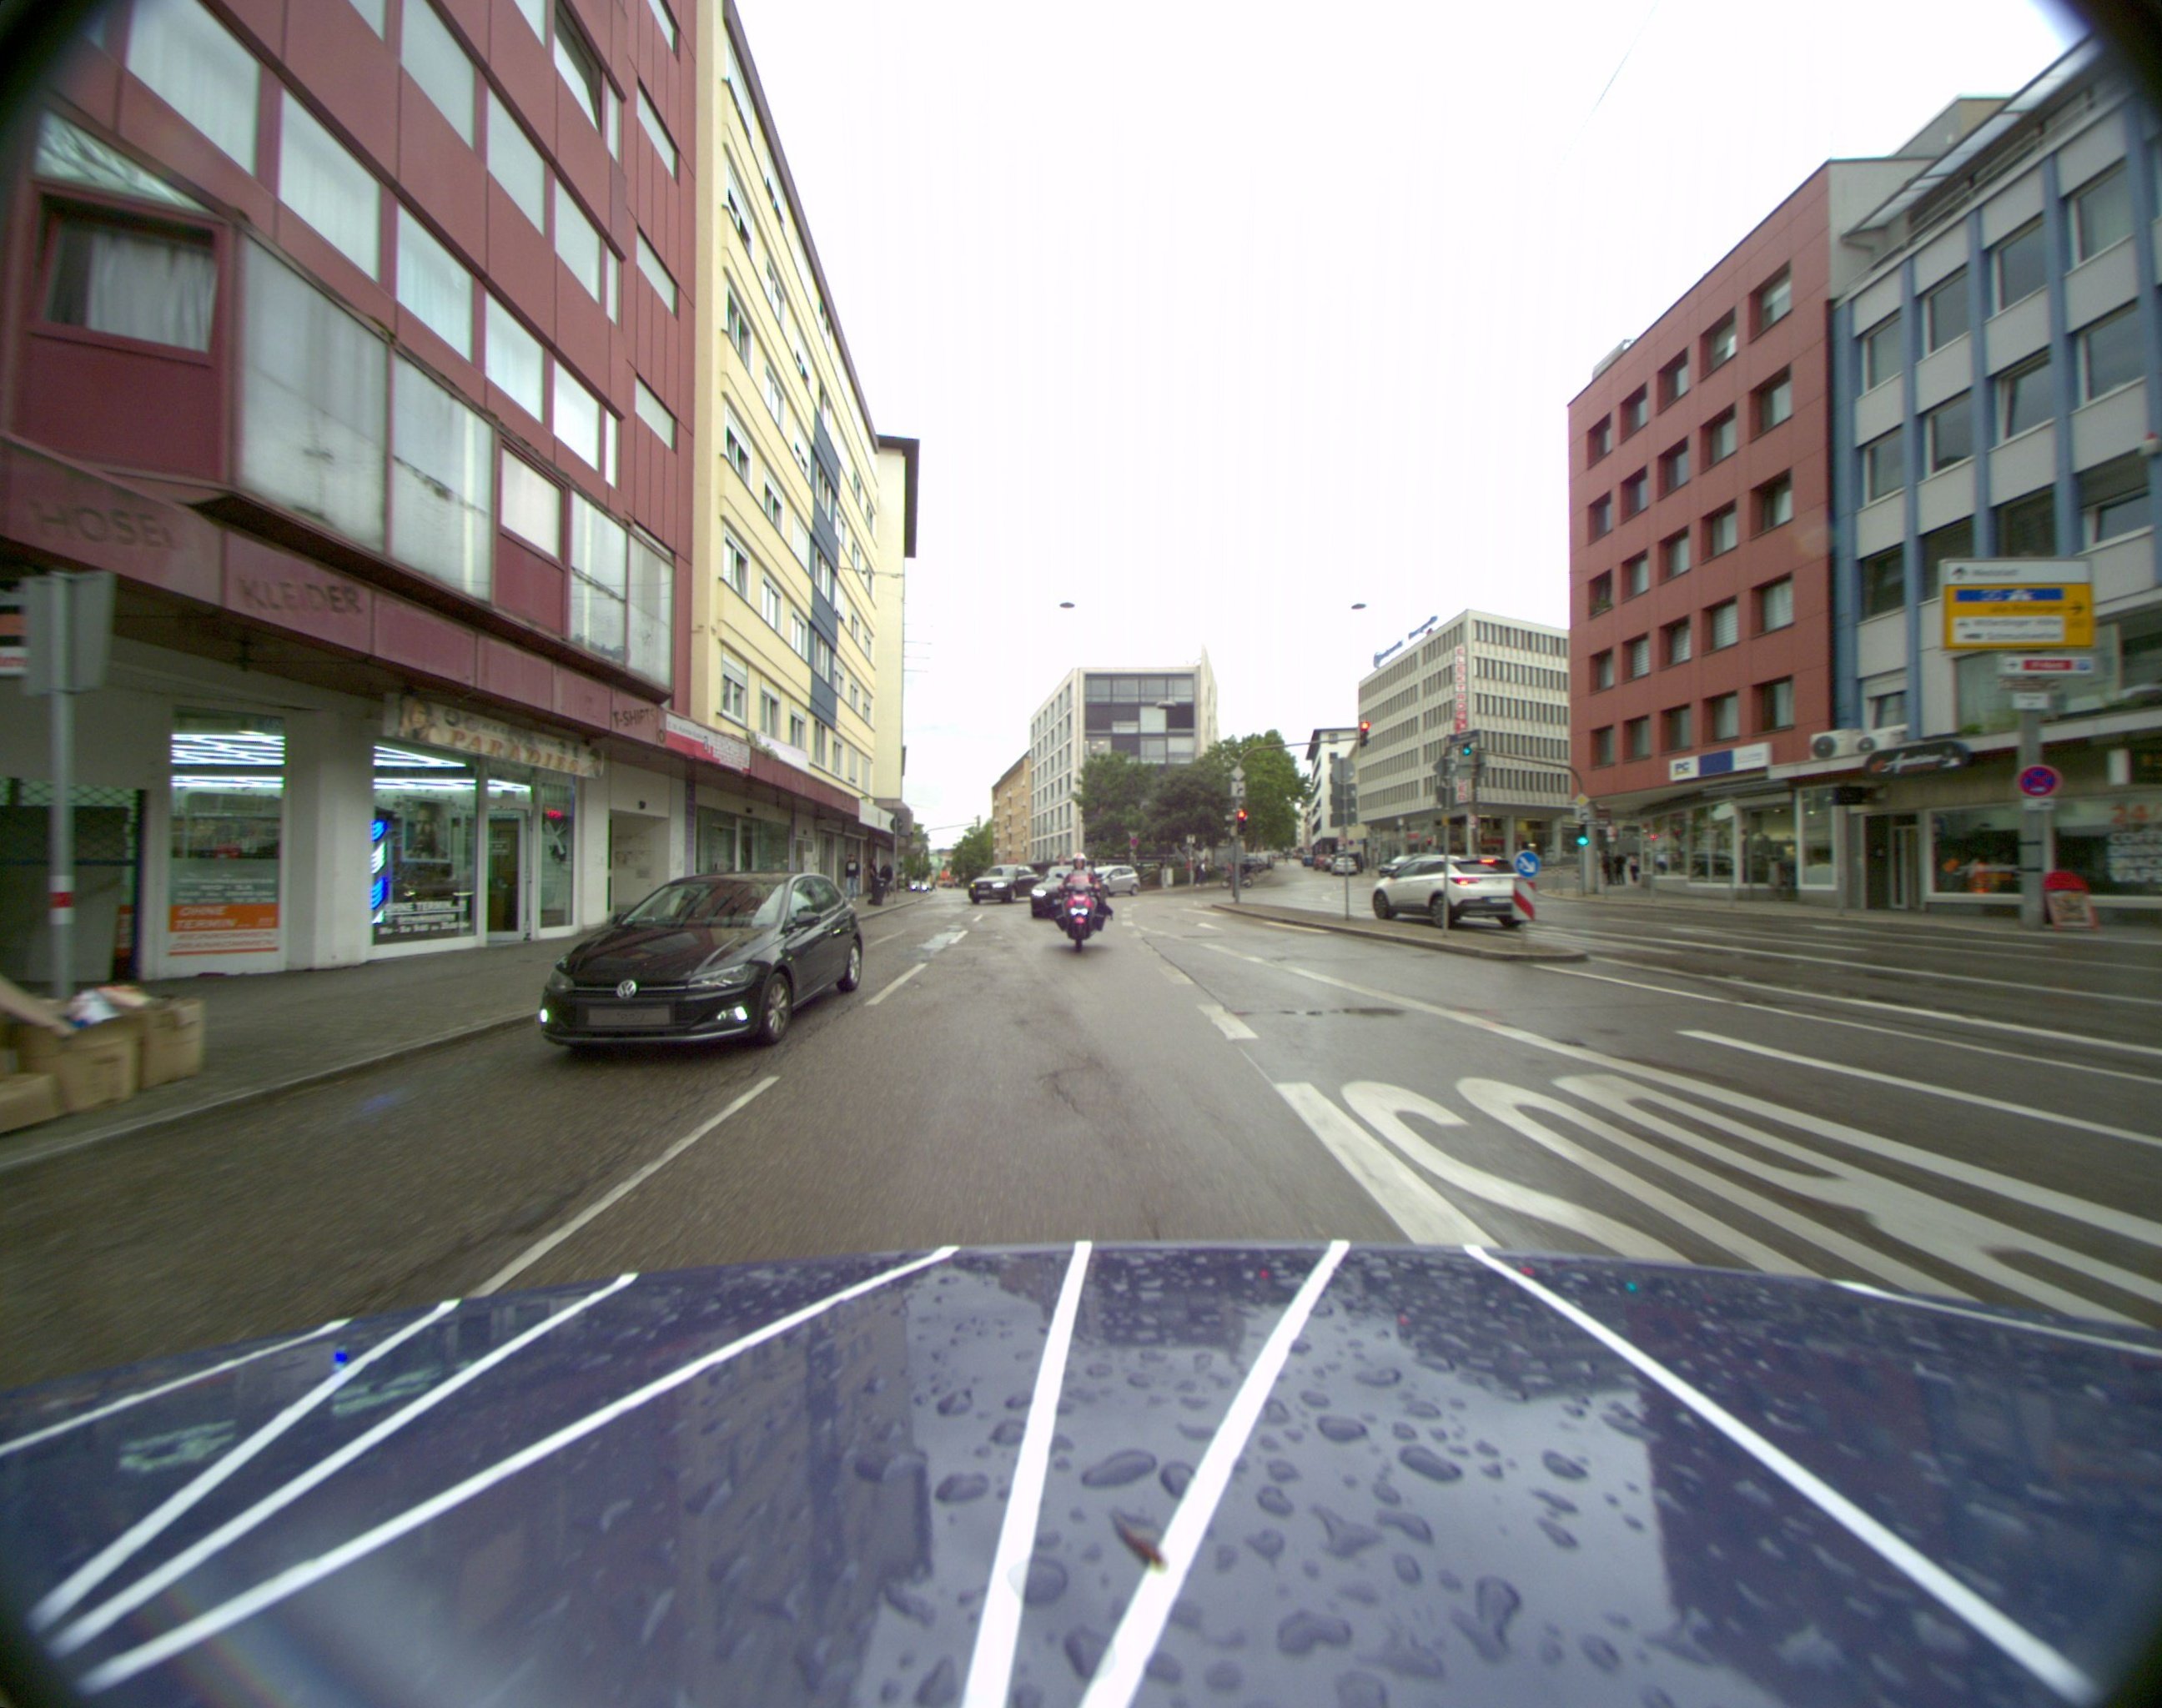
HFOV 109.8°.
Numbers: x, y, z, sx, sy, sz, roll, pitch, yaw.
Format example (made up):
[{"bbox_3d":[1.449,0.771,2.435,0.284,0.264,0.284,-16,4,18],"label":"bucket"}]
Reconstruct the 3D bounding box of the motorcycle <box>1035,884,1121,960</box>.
[{"bbox_3d":[0.007,1.170,13.590,1.312,1.128,2.186,-2,0,5],"label":"motorcycle"}]

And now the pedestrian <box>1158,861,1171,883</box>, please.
[{"bbox_3d":[6.935,1.471,63.157,0.789,1.802,0.593,-3,-2,-9],"label":"pedestrian"}]

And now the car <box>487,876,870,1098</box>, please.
[{"bbox_3d":[-3.368,0.989,7.310,1.742,1.422,3.879,0,0,-3],"label":"car"}]

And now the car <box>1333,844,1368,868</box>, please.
[{"bbox_3d":[25.093,0.195,70.865,2.095,2.078,4.618,-3,-1,7],"label":"car"}]

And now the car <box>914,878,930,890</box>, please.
[{"bbox_3d":[-20.224,3.777,96.527,1.787,1.444,3.996,-2,-2,-15],"label":"car"}]

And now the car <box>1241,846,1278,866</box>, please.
[{"bbox_3d":[21.850,0.291,93.072,3.827,2.252,1.989,-3,0,30],"label":"car"}]

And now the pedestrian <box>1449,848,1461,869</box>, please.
[{"bbox_3d":[29.121,0.327,59.180,0.713,1.613,0.725,-1,0,18],"label":"pedestrian"}]

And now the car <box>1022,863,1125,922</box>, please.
[{"bbox_3d":[-0.092,1.073,22.760,1.996,1.482,4.739,-1,0,13],"label":"car"}]

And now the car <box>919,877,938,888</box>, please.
[{"bbox_3d":[-24.745,4.573,123.060,2.002,1.610,4.116,-1,0,-25],"label":"car"}]

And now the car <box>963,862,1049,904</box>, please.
[{"bbox_3d":[-3.035,1.169,31.578,1.868,1.538,4.110,-3,-1,20],"label":"car"}]

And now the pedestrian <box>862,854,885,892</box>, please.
[{"bbox_3d":[-9.747,0.891,35.661,0.616,1.752,0.790,-3,-1,19],"label":"pedestrian"}]

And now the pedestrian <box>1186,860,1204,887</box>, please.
[{"bbox_3d":[7.838,1.340,52.164,0.783,1.738,0.788,-7,-1,-10],"label":"pedestrian"}]

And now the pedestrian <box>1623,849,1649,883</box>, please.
[{"bbox_3d":[27.260,0.601,37.326,0.734,1.619,0.693,-2,-1,-27],"label":"pedestrian"}]

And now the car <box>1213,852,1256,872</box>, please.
[{"bbox_3d":[13.917,0.727,68.865,3.539,1.550,1.742,-3,0,19],"label":"car"}]

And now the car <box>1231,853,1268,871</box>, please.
[{"bbox_3d":[16.985,0.790,76.502,3.540,1.550,1.742,-3,0,16],"label":"car"}]

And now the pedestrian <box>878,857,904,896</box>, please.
[{"bbox_3d":[-8.607,1.025,34.421,0.752,1.712,0.754,-3,-1,19],"label":"pedestrian"}]

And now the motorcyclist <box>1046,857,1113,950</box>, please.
[{"bbox_3d":[-0.001,0.871,13.746,1.092,1.595,0.953,-2,0,4],"label":"motorcyclist"}]

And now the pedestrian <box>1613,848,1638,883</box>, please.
[{"bbox_3d":[27.637,0.582,38.591,0.700,1.737,0.732,-2,-1,-30],"label":"pedestrian"}]

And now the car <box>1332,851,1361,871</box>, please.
[{"bbox_3d":[22.868,0.591,65.554,1.999,1.621,4.620,-3,-1,15],"label":"car"}]

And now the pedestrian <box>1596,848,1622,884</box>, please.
[{"bbox_3d":[26.608,0.614,38.294,0.744,1.737,0.732,-2,-1,-30],"label":"pedestrian"}]

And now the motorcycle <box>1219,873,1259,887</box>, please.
[{"bbox_3d":[10.034,1.661,48.376,2.396,0.837,0.712,-1,0,-10],"label":"motorcycle"}]

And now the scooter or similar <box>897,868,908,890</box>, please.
[{"bbox_3d":[-11.370,1.590,48.427,0.377,1.352,1.149,-2,0,3],"label":"scooter or similar"}]

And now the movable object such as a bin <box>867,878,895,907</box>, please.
[{"bbox_3d":[-6.861,1.318,26.067,0.530,0.929,0.674,3,-1,34],"label":"movable object such as a bin"}]

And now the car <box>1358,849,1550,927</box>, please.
[{"bbox_3d":[8.601,0.769,18.057,1.999,1.542,4.427,-2,-1,-6],"label":"car"}]

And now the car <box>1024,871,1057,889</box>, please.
[{"bbox_3d":[-3.340,2.139,62.069,1.976,1.379,3.996,1,-2,-13],"label":"car"}]

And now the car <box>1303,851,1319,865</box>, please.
[{"bbox_3d":[34.045,0.609,112.517,2.024,1.829,4.050,-3,-1,14],"label":"car"}]

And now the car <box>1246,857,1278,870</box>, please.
[{"bbox_3d":[18.946,1.020,79.637,3.042,1.176,2.054,-3,0,19],"label":"car"}]

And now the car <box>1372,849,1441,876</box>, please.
[{"bbox_3d":[22.223,0.569,51.860,4.004,1.673,1.997,-2,0,-21],"label":"car"}]

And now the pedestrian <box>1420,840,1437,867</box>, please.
[{"bbox_3d":[26.600,-0.050,58.228,0.993,2.002,0.948,-1,0,14],"label":"pedestrian"}]

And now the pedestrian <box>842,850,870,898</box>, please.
[{"bbox_3d":[-8.476,0.767,28.619,0.838,1.753,0.617,3,-3,-9],"label":"pedestrian"}]

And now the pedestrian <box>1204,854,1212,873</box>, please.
[{"bbox_3d":[12.524,0.965,74.982,0.592,1.802,0.705,-3,-2,16],"label":"pedestrian"}]

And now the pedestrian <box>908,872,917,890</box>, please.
[{"bbox_3d":[-15.749,2.545,71.085,0.738,1.636,0.641,-3,0,-12],"label":"pedestrian"}]

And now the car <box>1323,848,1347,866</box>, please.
[{"bbox_3d":[26.529,0.380,79.598,2.023,1.739,4.620,-3,-1,15],"label":"car"}]

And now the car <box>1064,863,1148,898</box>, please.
[{"bbox_3d":[1.332,1.346,38.907,1.995,1.574,4.112,-4,-2,45],"label":"car"}]

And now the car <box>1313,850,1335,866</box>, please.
[{"bbox_3d":[27.517,0.455,86.317,1.931,1.662,4.450,-3,-1,13],"label":"car"}]

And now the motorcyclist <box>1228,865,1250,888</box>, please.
[{"bbox_3d":[10.053,1.413,48.373,1.114,1.434,0.910,-1,0,-11],"label":"motorcyclist"}]
